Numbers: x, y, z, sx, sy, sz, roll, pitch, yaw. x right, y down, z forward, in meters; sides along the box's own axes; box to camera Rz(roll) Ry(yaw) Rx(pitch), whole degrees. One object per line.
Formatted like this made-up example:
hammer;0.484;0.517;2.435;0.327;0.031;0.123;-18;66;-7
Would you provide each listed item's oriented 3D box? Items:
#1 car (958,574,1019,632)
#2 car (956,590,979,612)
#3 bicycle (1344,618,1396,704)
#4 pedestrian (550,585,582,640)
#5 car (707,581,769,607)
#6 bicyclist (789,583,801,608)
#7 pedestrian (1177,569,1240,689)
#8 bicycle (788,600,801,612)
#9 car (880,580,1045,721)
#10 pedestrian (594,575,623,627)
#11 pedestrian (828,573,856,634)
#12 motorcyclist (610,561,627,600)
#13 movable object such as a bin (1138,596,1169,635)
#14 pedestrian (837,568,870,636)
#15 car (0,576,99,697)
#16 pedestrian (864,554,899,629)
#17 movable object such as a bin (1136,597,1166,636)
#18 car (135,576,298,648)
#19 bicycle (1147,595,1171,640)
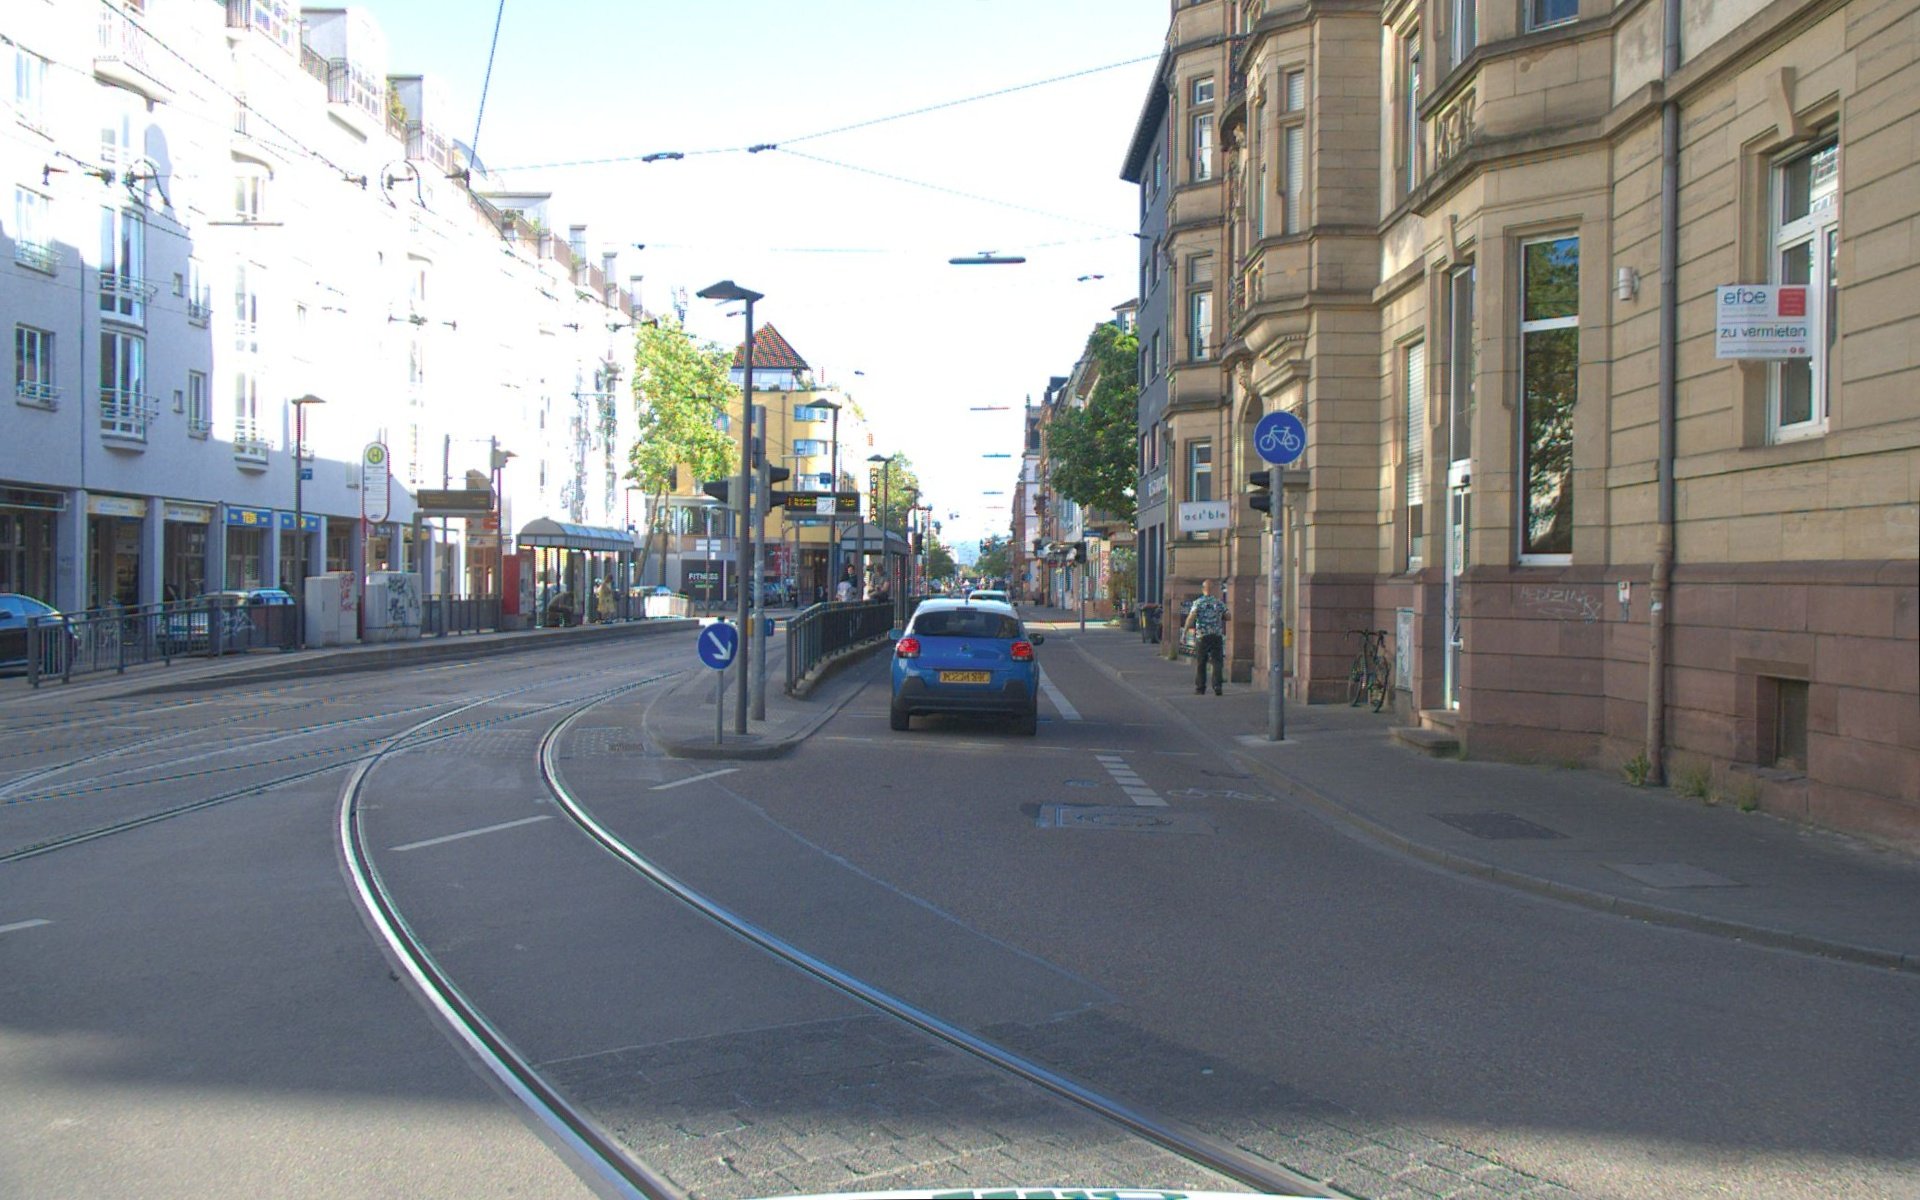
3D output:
car;0.974;0.132;55.932;1.952;1.773;4.000;1;-2;1
car;0.708;0.096;149.066;1.952;1.773;4.000;1;-2;1
bicycle;5.377;0.801;21.736;0.250;1.071;1.769;1;-2;1
pedestrian;-11.205;0.358;47.014;0.716;1.554;0.743;0;-1;0
car;-14.875;-0.377;110.846;3.907;1.704;1.956;0;-1;-3
bicyclist;-10.696;-0.289;107.354;0.658;1.584;0.778;0;-1;2
pedestrian;3.787;0.428;25.295;0.764;1.780;1.093;0;0;-2
bicycle;-10.721;0.390;107.182;0.554;0.771;1.938;0;-1;2
car;0.066;0.582;19.731;1.744;1.476;3.654;2;-1;1
pedestrian;-10.862;0.046;51.092;0.716;1.586;0.743;0;-1;0
pedestrian;-3.126;0.090;43.703;0.575;1.589;0.468;-1;-1;37
motorcyclist;-13.708;-0.792;66.393;0.477;1.529;0.722;1;-2;2
movable object such as a bin;5.408;0.443;46.306;0.733;1.054;0.753;-4;-1;1
pedestrian;-2.842;0.053;44.169;0.705;1.809;0.563;-1;-1;37
car;-16.599;0.602;27.451;2.181;1.944;4.608;0;-1;0
pedestrian;-1.868;-0.184;39.291;0.623;1.727;0.934;1;-2;8
movable object such as a bin;5.433;0.463;47.067;0.733;1.054;0.753;-4;-1;1
car;-16.736;0.306;37.467;1.693;1.541;4.404;0;-1;0
bicycle;5.234;0.464;43.557;0.450;1.143;1.773;-1;-1;1
